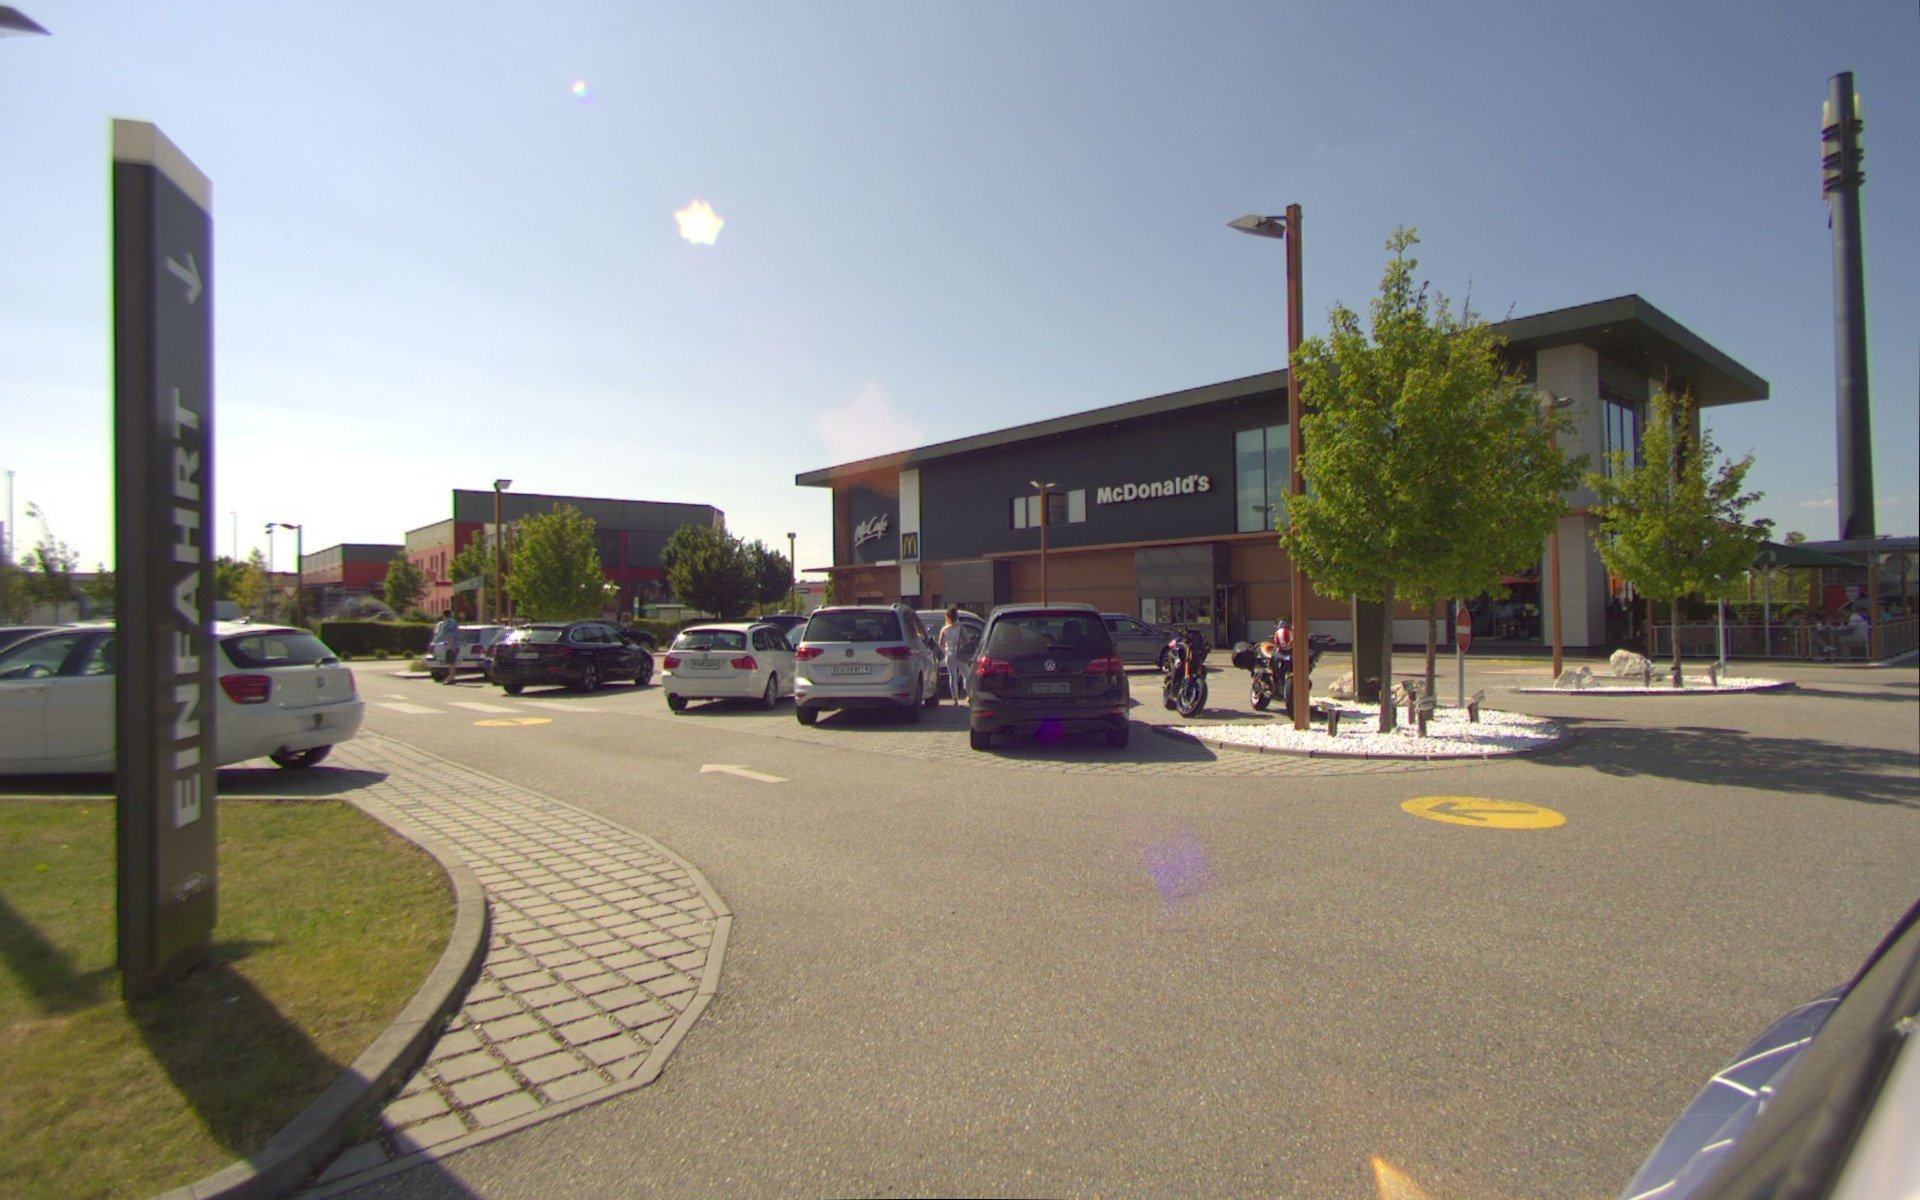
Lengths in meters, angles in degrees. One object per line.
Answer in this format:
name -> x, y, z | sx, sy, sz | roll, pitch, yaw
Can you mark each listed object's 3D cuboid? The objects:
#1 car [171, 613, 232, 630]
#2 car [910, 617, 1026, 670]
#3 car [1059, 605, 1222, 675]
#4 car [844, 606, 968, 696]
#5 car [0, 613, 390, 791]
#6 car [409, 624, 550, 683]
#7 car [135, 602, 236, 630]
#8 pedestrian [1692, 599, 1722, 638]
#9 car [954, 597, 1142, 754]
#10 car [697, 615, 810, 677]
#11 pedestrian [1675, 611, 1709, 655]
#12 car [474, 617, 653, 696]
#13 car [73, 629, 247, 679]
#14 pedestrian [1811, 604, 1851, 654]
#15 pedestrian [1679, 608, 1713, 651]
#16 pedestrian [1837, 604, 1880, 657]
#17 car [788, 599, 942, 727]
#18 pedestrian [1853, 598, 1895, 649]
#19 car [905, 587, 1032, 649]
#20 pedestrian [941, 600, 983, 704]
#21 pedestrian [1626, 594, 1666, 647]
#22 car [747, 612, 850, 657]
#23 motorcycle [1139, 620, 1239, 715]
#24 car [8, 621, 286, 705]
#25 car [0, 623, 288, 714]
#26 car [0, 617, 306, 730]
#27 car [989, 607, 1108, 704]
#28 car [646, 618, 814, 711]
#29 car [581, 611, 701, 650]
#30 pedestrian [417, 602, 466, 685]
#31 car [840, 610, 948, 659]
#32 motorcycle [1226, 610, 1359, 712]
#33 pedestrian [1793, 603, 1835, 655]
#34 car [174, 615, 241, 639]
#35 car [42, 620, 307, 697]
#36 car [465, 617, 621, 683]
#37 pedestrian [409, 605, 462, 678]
car -> -61.591, 1.721, 82.162 | 3.841, 1.359, 1.662 | 0, -1, -42
car -> 0.209, 1.286, 30.402 | 3.349, 1.501, 1.568 | -1, -1, -1
car -> 4.883, 1.062, 27.844 | 4.150, 1.623, 1.790 | -3, 1, 3
car -> -0.983, 0.967, 20.474 | 1.781, 1.614, 3.990 | -1, -1, 8
car -> -7.790, 0.879, 9.314 | 4.109, 1.444, 1.842 | -1, -1, 3
car -> -12.866, 1.394, 27.353 | 1.677, 1.444, 3.896 | -1, -1, 6
car -> -64.002, 1.290, 83.706 | 6.459, 2.273, 2.296 | 0, -2, -42
pedestrian -> 21.745, 0.551, 29.463 | 0.645, 1.115, 0.572 | 1, -2, -42
car -> 1.005, 0.795, 12.266 | 1.862, 1.556, 4.186 | -1, -1, 4
car -> -5.542, 1.202, 27.694 | 1.853, 1.530, 4.536 | -1, -1, 4
pedestrian -> 19.314, 0.869, 26.696 | 0.632, 1.138, 0.516 | -3, -2, 45
car -> -8.522, 1.161, 22.241 | 1.948, 1.530, 4.411 | -1, -1, 4
car -> -25.117, 1.684, 31.888 | 4.006, 1.441, 1.798 | -1, -1, -3
pedestrian -> 22.543, 0.742, 26.203 | 0.713, 1.274, 0.516 | -3, -2, 45
pedestrian -> 19.712, 0.791, 27.117 | 0.632, 1.138, 0.516 | -3, -2, 45
pedestrian -> 21.922, 0.741, 24.702 | 0.727, 1.274, 0.564 | -3, -2, 44
car -> -1.296, 0.882, 15.379 | 1.716, 1.661, 4.062 | -1, -2, 4
pedestrian -> 23.118, 0.601, 25.607 | 0.727, 1.274, 0.564 | -3, -2, 44
car -> 0.256, 0.583, 33.430 | 4.065, 1.946, 1.758 | -1, -1, -1
pedestrian -> 0.041, 0.875, 17.292 | 0.601, 1.735, 0.561 | -1, -2, 12
pedestrian -> 21.056, 0.621, 31.057 | 0.714, 1.604, 0.742 | 0, -2, -31
car -> -6.715, 1.403, 41.994 | 3.954, 1.727, 1.678 | -1, -1, -19
motorcycle -> 3.233, 0.932, 14.527 | 0.804, 1.247, 2.142 | -1, -2, -3
car -> -15.830, 1.194, 19.892 | 3.920, 1.508, 1.822 | -1, -1, -5
car -> -13.937, 1.125, 17.201 | 3.928, 1.421, 1.818 | -1, -1, 5
car -> -12.235, 1.017, 14.595 | 4.387, 1.490, 1.914 | -1, -1, 0
car -> 1.566, 0.954, 17.955 | 1.803, 1.466, 4.653 | -1, -3, 5
car -> -3.860, 1.057, 17.710 | 1.761, 1.426, 4.076 | -1, -2, 4
car -> -14.712, 1.383, 46.856 | 4.979, 1.651, 1.920 | 0, -2, -43
pedestrian -> -12.451, 1.034, 24.297 | 1.008, 1.940, 0.903 | 0, -2, -29
car -> -2.402, 1.214, 36.314 | 3.766, 1.653, 1.760 | -1, -1, -7
motorcycle -> 4.520, 0.825, 13.990 | 1.051, 1.267, 2.250 | -2, -3, 0
pedestrian -> 21.138, 0.712, 25.053 | 0.713, 1.274, 0.516 | -3, -2, 45
car -> -58.077, 2.067, 78.147 | 1.888, 1.750, 3.936 | -2, -2, 45
car -> -17.079, 1.233, 22.215 | 4.263, 1.531, 1.781 | -1, -1, -9
car -> -10.569, 1.219, 26.021 | 1.948, 1.530, 4.411 | -1, -1, 4
pedestrian -> -14.256, 1.127, 27.523 | 0.889, 1.940, 0.914 | -1, -2, 15
